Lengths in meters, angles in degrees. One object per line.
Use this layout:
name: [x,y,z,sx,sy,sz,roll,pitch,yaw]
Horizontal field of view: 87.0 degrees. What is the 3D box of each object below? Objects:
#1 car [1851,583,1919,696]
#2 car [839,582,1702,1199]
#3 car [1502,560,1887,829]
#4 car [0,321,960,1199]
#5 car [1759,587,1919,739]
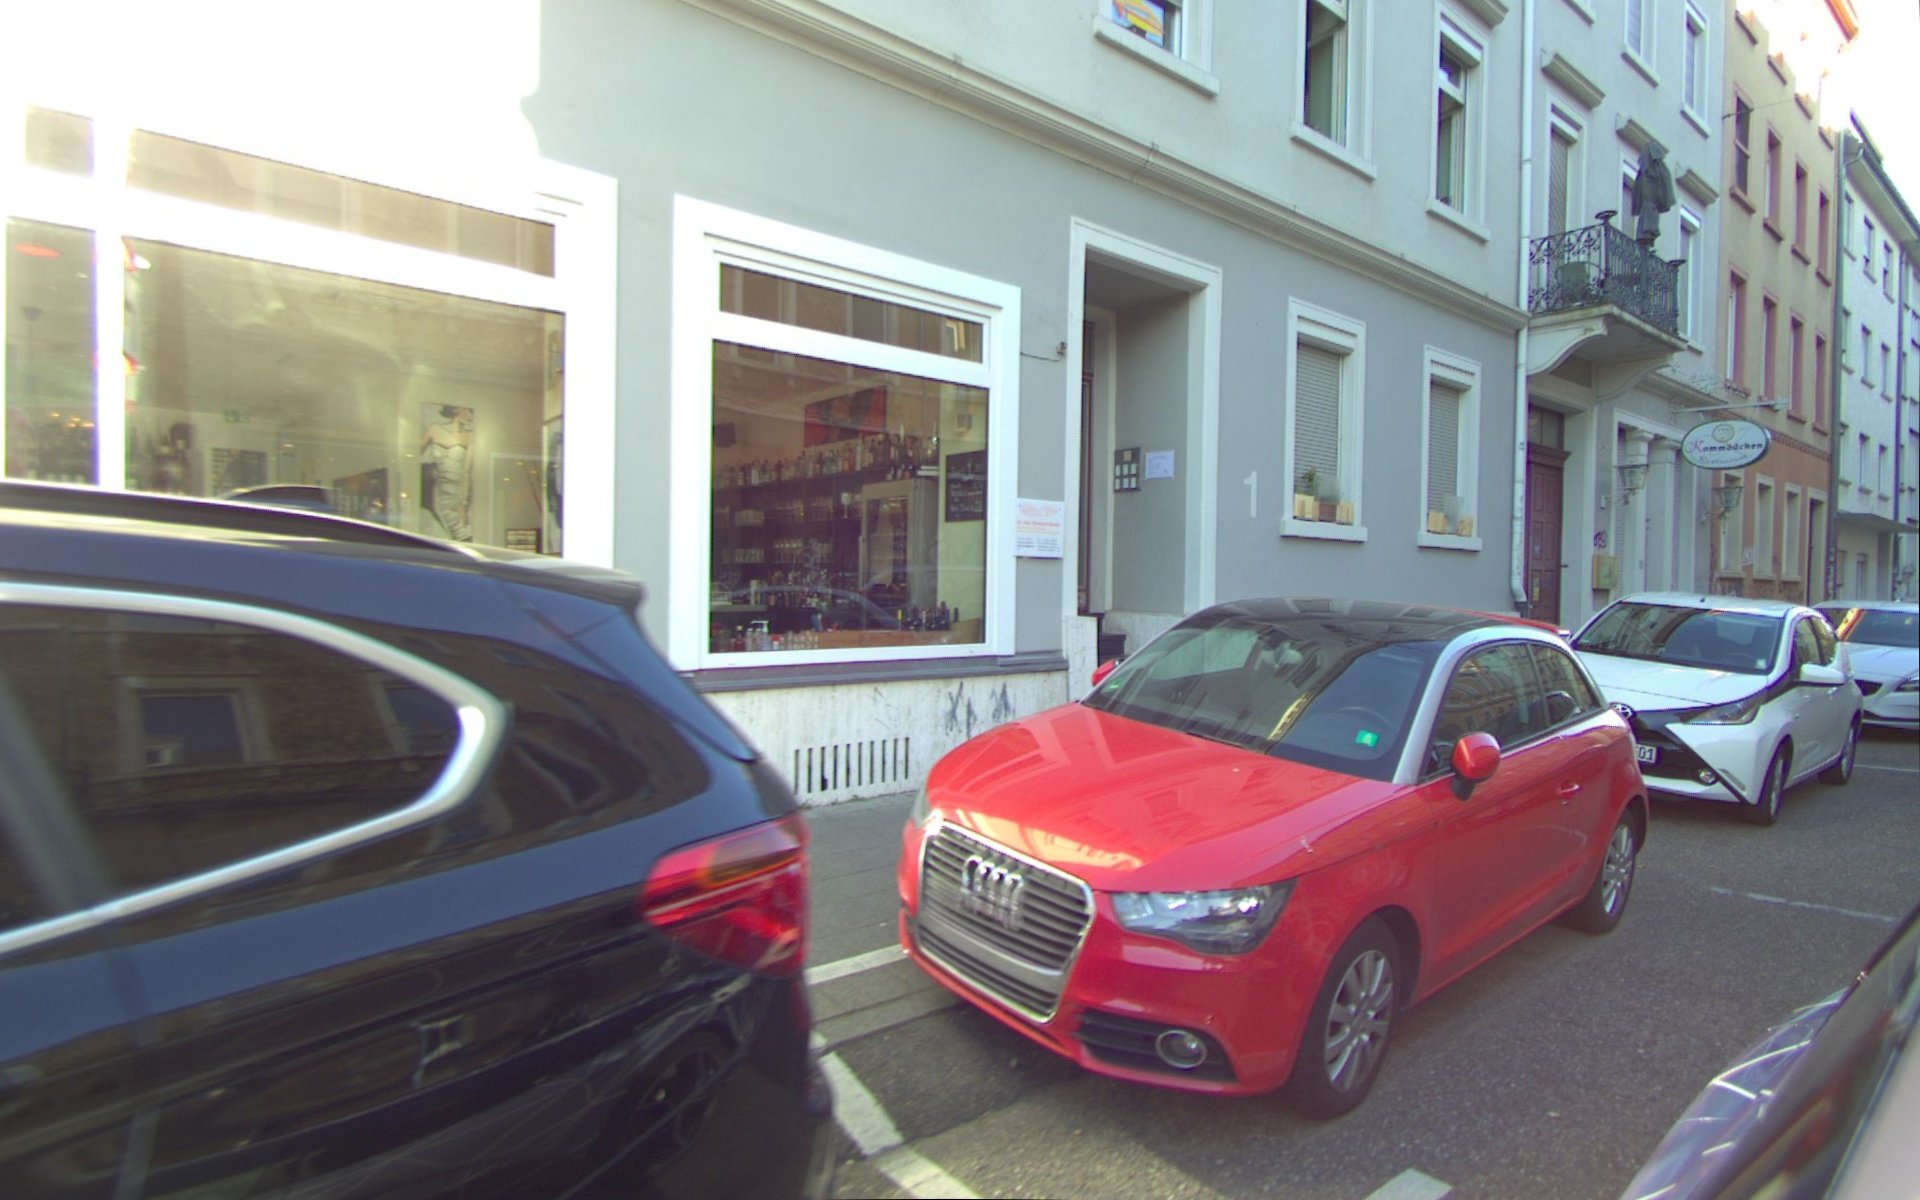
car: [15.417,0.560,15.639,4.112,1.617,1.683,0,0,-37]
car: [1.567,0.720,4.227,3.885,1.522,1.648,0,0,-41]
car: [5.860,0.567,7.919,3.722,1.607,1.639,0,0,-41]
car: [-2.123,0.627,0.759,4.124,1.683,1.763,0,0,-41]
car: [10.974,0.633,11.906,4.116,1.529,1.682,0,0,-40]
